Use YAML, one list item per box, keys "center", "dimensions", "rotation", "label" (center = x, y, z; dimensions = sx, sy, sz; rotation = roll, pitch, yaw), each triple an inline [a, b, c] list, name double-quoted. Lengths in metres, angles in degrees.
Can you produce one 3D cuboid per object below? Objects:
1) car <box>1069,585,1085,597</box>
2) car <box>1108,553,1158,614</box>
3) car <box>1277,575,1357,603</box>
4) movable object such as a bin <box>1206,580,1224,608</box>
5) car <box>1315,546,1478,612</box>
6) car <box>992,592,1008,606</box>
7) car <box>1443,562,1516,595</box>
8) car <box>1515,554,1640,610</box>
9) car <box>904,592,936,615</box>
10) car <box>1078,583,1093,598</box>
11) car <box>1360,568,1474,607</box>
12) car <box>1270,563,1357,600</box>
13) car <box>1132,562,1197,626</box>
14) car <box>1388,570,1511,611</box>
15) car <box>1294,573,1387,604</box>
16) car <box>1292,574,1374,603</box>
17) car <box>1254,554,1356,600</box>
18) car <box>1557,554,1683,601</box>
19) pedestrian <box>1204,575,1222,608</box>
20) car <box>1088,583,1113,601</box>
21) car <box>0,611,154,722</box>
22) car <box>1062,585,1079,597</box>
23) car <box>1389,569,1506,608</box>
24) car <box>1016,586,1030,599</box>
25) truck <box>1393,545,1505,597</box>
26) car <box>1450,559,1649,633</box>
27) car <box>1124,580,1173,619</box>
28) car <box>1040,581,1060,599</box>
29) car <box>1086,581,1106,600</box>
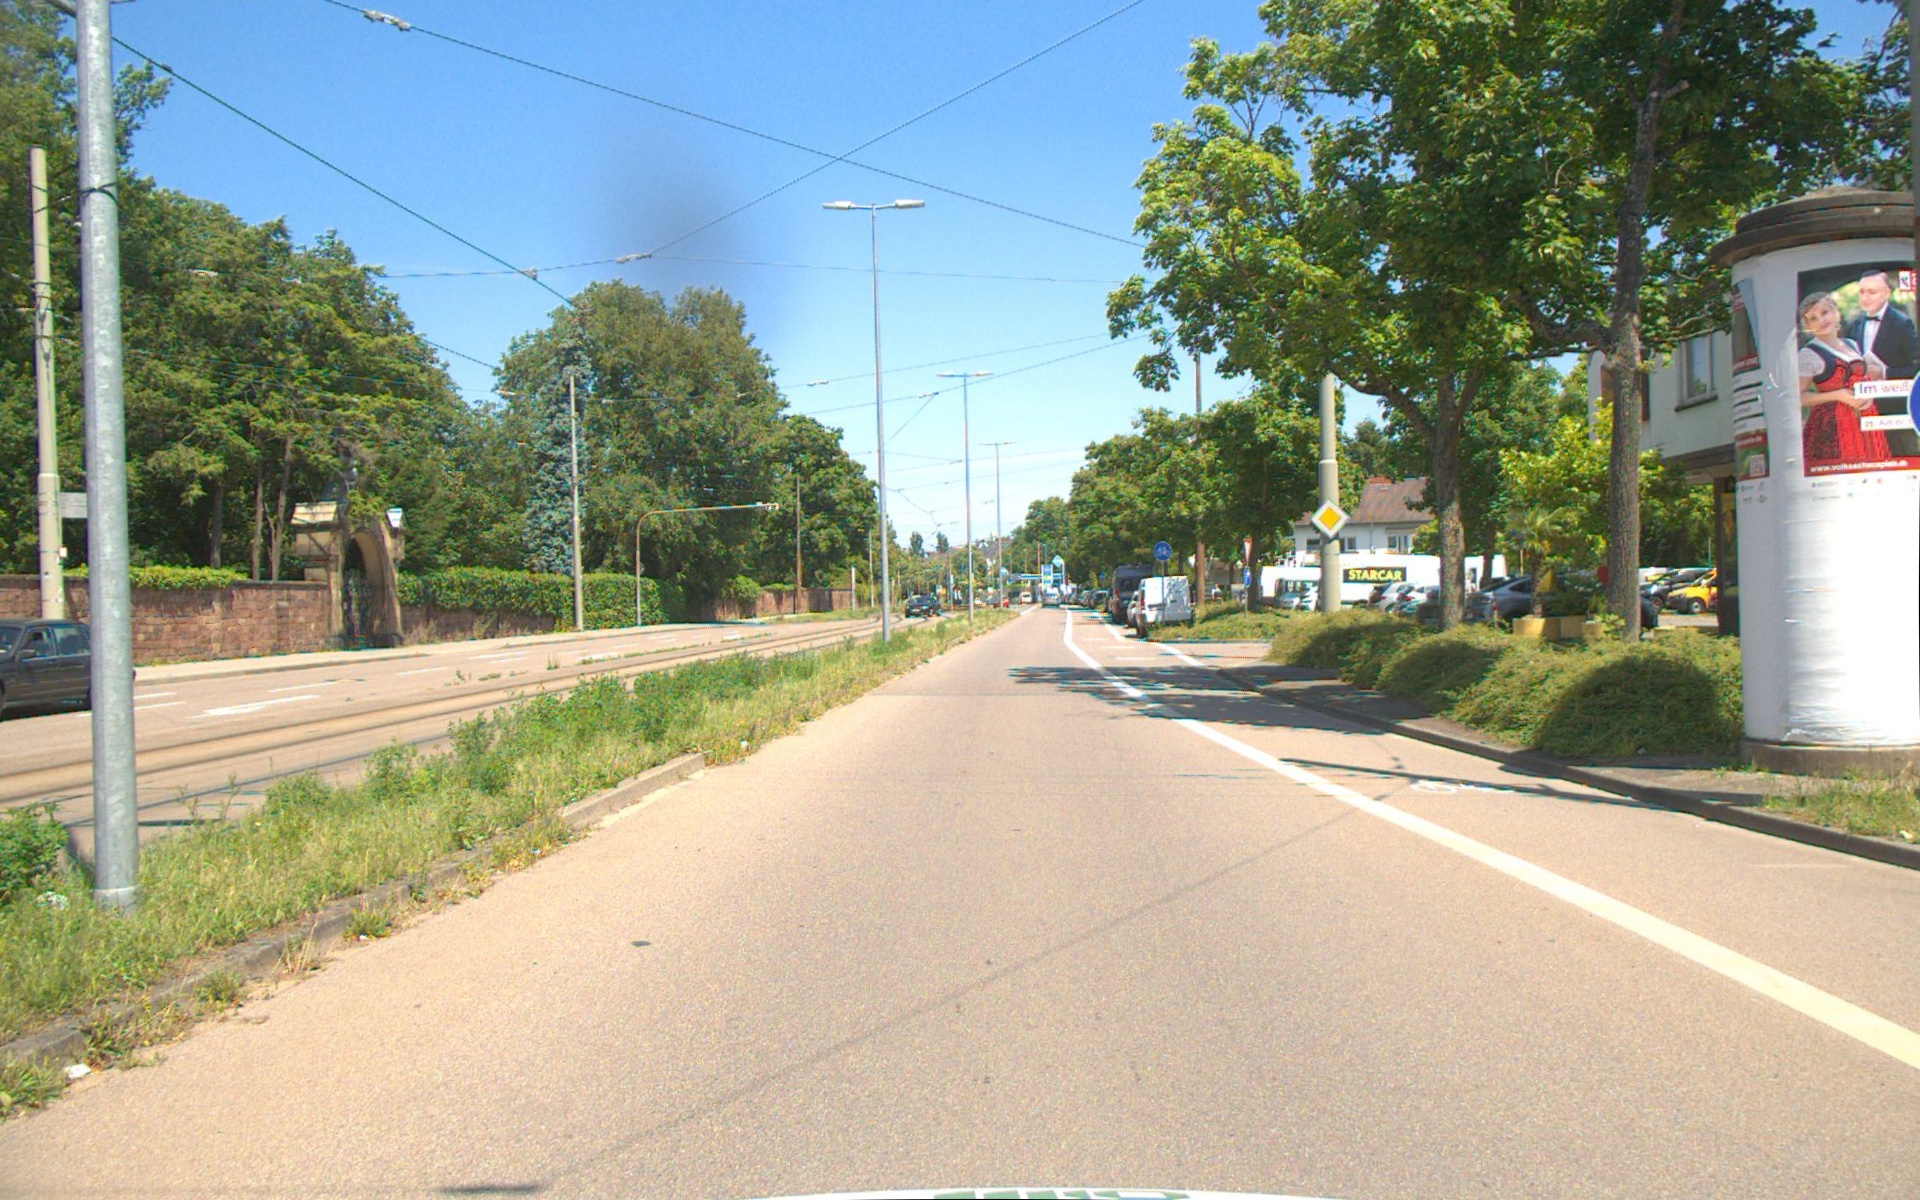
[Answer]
- center: [16.271, -1.277, 229.686]
  dimensions: [1.672, 1.518, 5.037]
  rotation: [-4, 0, -1]
  label: "car"
- center: [8.259, -0.784, 79.403]
  dimensions: [1.956, 2.682, 6.081]
  rotation: [-4, 0, 3]
  label: "car"
- center: [18.720, -0.567, 86.809]
  dimensions: [3.807, 1.430, 1.727]
  rotation: [1, 0, -1]
  label: "car"
- center: [13.056, -0.309, 84.745]
  dimensions: [0.776, 1.376, 0.889]
  rotation: [-1, 0, 3]
  label: "movable object such as a bin"
- center: [17.928, -0.860, 68.246]
  dimensions: [6.206, 2.573, 2.265]
  rotation: [1, 0, 6]
  label: "car"
- center: [4.411, -0.118, 183.074]
  dimensions: [1.671, 1.438, 4.283]
  rotation: [-1, 1, 3]
  label: "car"
- center: [32.024, -1.322, 102.023]
  dimensions: [3.917, 1.839, 1.754]
  rotation: [-3, 0, 0]
  label: "car"
- center: [30.840, -0.885, 82.721]
  dimensions: [5.375, 2.502, 2.096]
  rotation: [-3, 0, 4]
  label: "car"
- center: [-2.668, 0.201, 110.487]
  dimensions: [1.718, 1.474, 4.126]
  rotation: [0, 1, 5]
  label: "car"
- center: [16.145, -1.258, 212.804]
  dimensions: [1.802, 1.723, 4.781]
  rotation: [-4, 0, 4]
  label: "car"
- center: [17.292, -0.472, 62.699]
  dimensions: [3.808, 1.404, 1.727]
  rotation: [1, 0, -3]
  label: "car"
- center: [19.150, -0.982, 89.696]
  dimensions: [4.316, 1.942, 1.954]
  rotation: [1, 0, -1]
  label: "car"
- center: [6.926, -0.217, 56.408]
  dimensions: [1.840, 1.950, 5.127]
  rotation: [-4, 0, 4]
  label: "car"
- center: [17.065, -0.331, 57.810]
  dimensions: [3.805, 1.348, 1.728]
  rotation: [1, 0, 2]
  label: "car"
- center: [18.742, -0.565, 81.617]
  dimensions: [4.188, 1.430, 1.728]
  rotation: [1, 0, 1]
  label: "car"
- center: [19.025, -0.571, 84.465]
  dimensions: [3.806, 1.430, 1.728]
  rotation: [1, 0, 1]
  label: "car"
- center: [19.299, -1.277, 92.689]
  dimensions: [5.375, 2.502, 2.096]
  rotation: [1, 0, 4]
  label: "car"
- center: [30.930, -1.051, 77.609]
  dimensions: [4.990, 1.909, 2.096]
  rotation: [-3, 0, 4]
  label: "car"
- center: [13.103, -0.447, 85.673]
  dimensions: [0.788, 1.653, 0.943]
  rotation: [-1, 0, 3]
  label: "pedestrian"
- center: [12.480, -0.699, 147.184]
  dimensions: [1.803, 1.461, 4.825]
  rotation: [-4, 0, 1]
  label: "car"
- center: [-14.322, 0.957, 24.736]
  dimensions: [1.802, 1.441, 5.036]
  rotation: [1, 1, 4]
  label: "car"
- center: [16.029, -1.326, 240.901]
  dimensions: [1.674, 1.589, 4.318]
  rotation: [-4, 0, -6]
  label: "car"
- center: [17.714, -0.433, 60.211]
  dimensions: [3.805, 1.348, 1.728]
  rotation: [1, 0, 2]
  label: "car"
- center: [9.822, -1.179, 258.218]
  dimensions: [1.953, 2.049, 3.999]
  rotation: [1, 0, -1]
  label: "car"
- center: [33.167, -1.930, 112.293]
  dimensions: [6.802, 3.138, 2.425]
  rotation: [-3, 0, 2]
  label: "truck"
- center: [14.061, -0.108, 39.602]
  dimensions: [4.054, 1.639, 1.944]
  rotation: [-1, 0, 0]
  label: "car"
- center: [7.739, -0.047, 68.142]
  dimensions: [1.686, 1.452, 4.211]
  rotation: [-4, 0, 4]
  label: "car"
- center: [9.014, -1.022, 165.904]
  dimensions: [1.720, 1.658, 4.324]
  rotation: [-4, 0, 1]
  label: "car"
- center: [13.517, -1.002, 164.764]
  dimensions: [1.802, 1.736, 4.629]
  rotation: [-4, 0, 5]
  label: "car"
